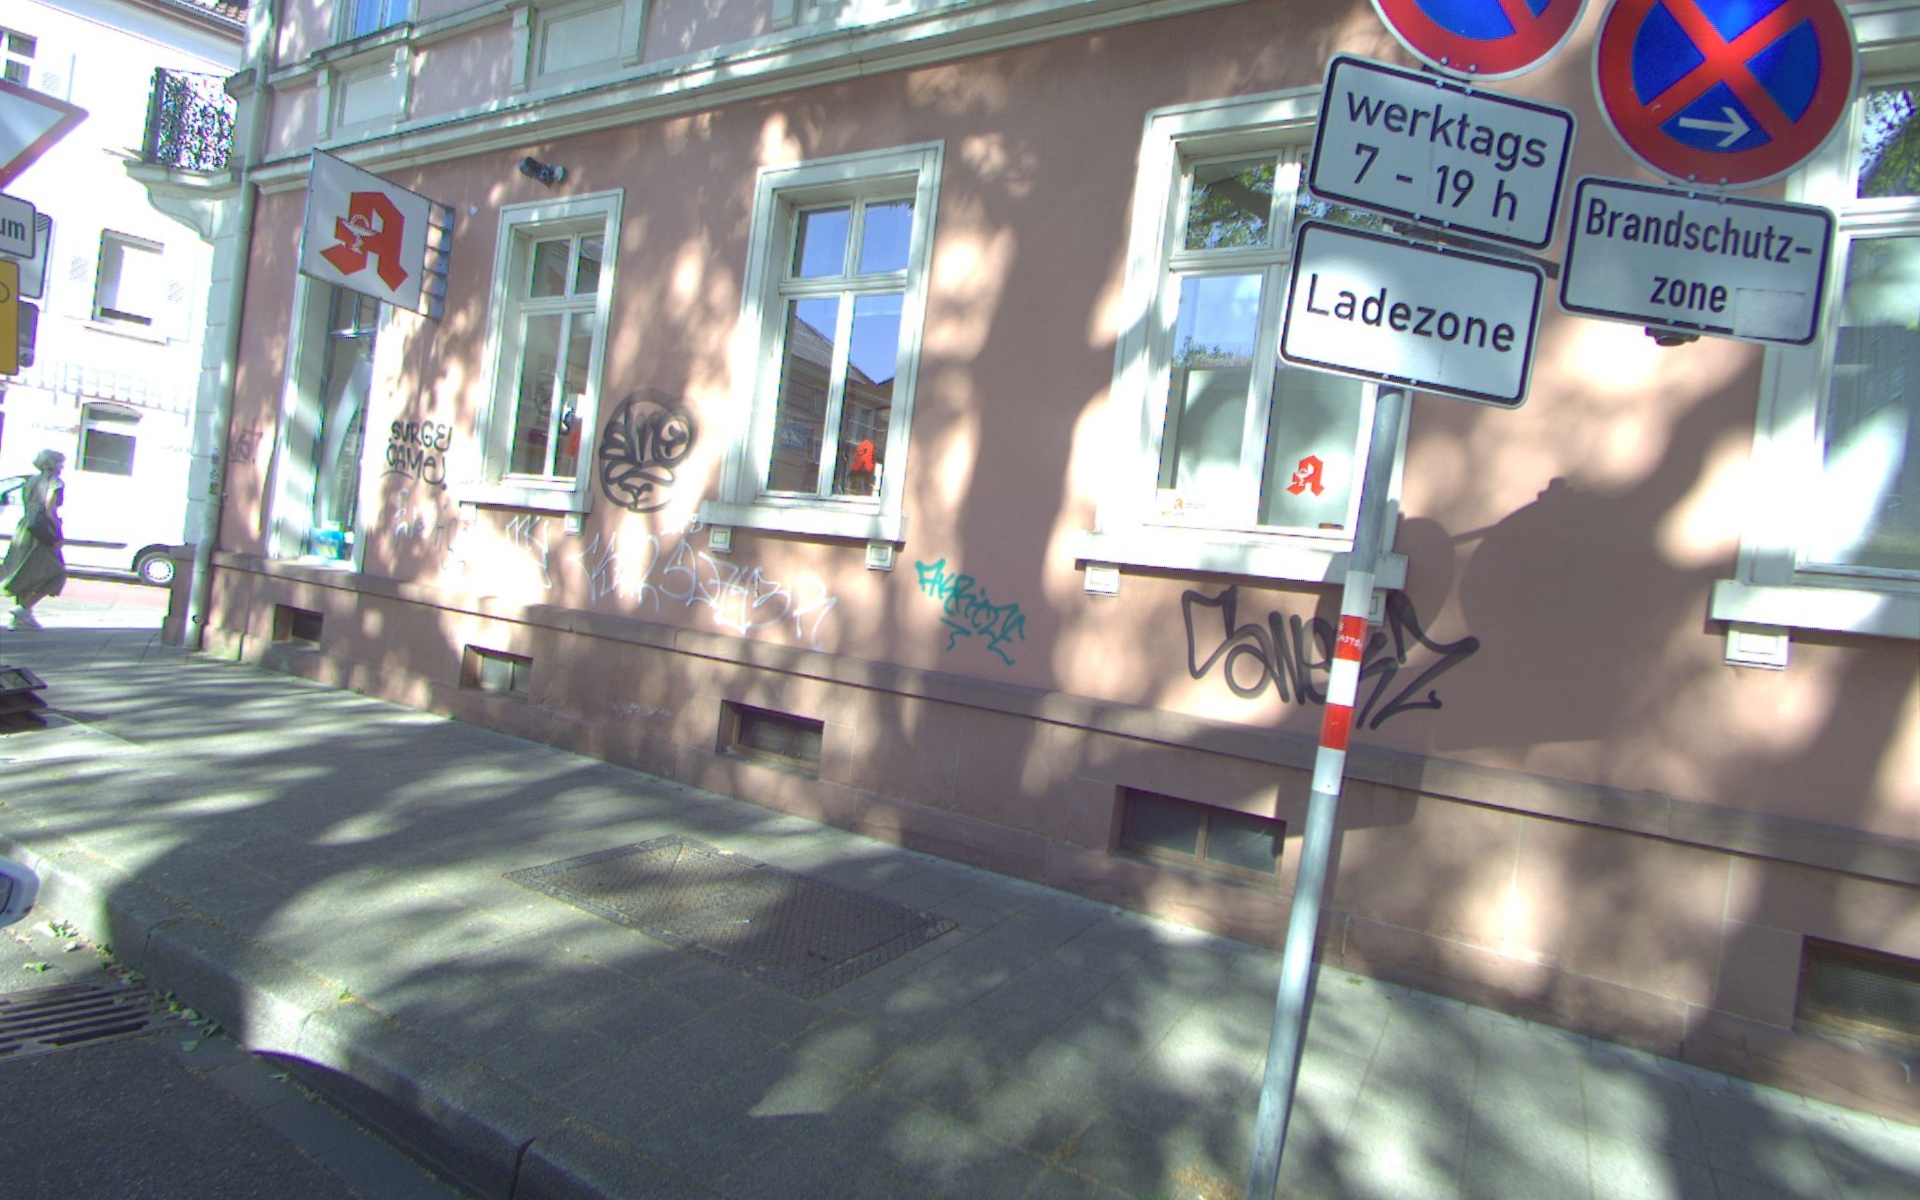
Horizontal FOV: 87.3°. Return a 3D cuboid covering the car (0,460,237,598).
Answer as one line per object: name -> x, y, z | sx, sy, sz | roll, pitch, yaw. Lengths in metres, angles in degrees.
car -> -16.280, -1.363, 18.237 | 4.983, 1.969, 2.030 | 8, -1, -37

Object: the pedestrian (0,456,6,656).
pedestrian -> -8.210, -0.378, 7.908 | 0.832, 1.596, 0.843 | 6, 5, 32

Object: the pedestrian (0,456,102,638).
pedestrian -> -8.998, -0.507, 9.789 | 0.616, 1.690, 0.835 | 5, 3, 31
